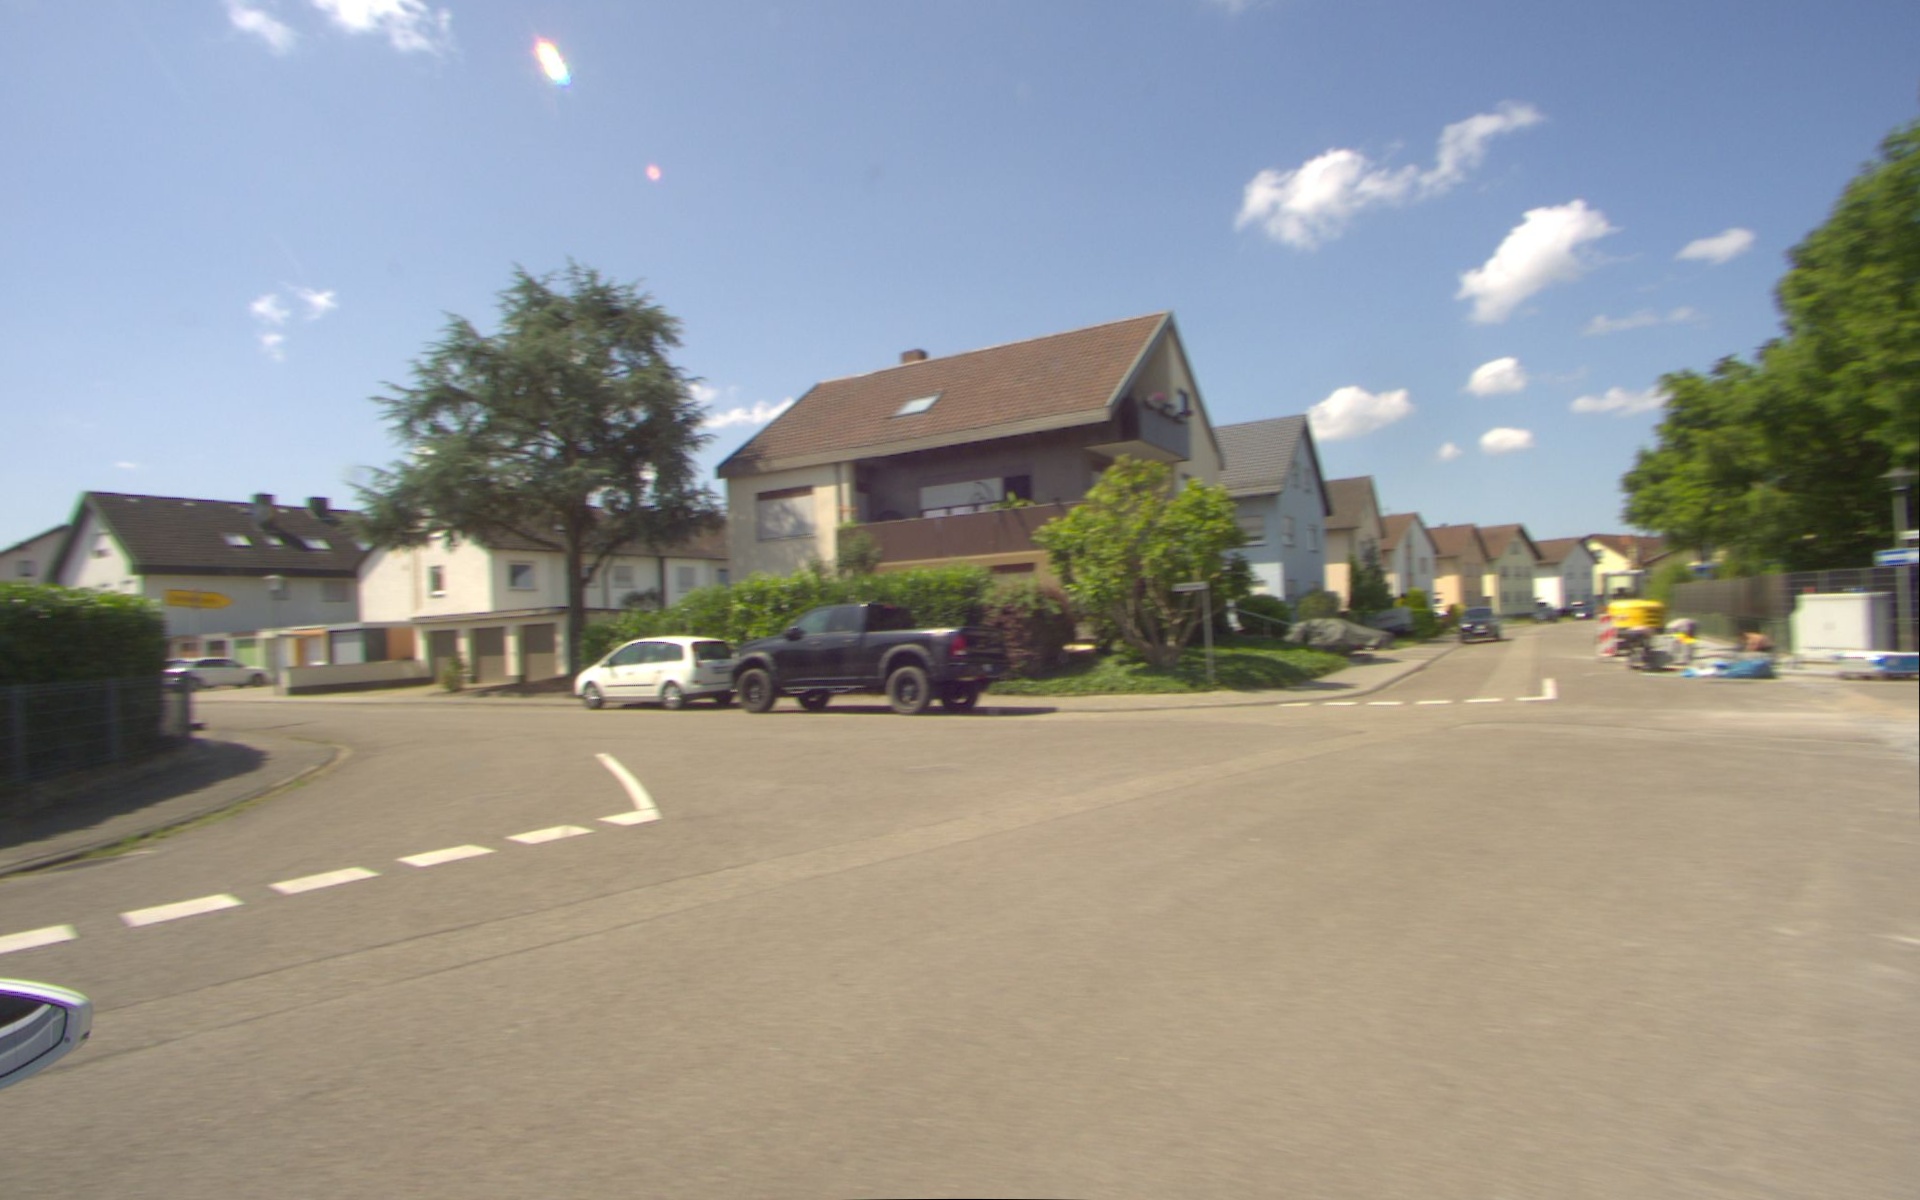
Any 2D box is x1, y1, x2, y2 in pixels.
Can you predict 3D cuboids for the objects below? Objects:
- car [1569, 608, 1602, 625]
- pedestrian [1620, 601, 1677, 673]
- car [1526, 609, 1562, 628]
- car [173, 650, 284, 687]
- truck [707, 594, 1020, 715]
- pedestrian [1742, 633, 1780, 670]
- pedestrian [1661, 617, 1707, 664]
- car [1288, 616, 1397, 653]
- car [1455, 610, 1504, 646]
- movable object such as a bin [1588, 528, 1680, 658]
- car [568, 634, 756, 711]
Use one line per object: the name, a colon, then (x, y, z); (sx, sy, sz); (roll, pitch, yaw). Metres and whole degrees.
car: (64.172, 1.693, 102.715); (1.980, 1.671, 3.963); (-3, -2, 44)
pedestrian: (15.182, 0.809, 22.097); (0.835, 1.533, 0.532); (-2, -1, -11)
car: (54.013, 1.700, 92.593); (1.949, 1.671, 3.963); (-3, -2, 44)
car: (-32.527, 3.035, 44.633); (1.758, 1.426, 3.593); (-3, -2, 31)
truck: (-1.903, 1.127, 19.220); (5.626, 2.037, 2.364); (-3, -5, 28)
pedestrian: (18.167, 1.158, 22.718); (0.513, 0.803, 0.431); (-3, -1, 14)
pedestrian: (19.166, 1.072, 26.521); (0.810, 1.183, 0.511); (-2, -1, -11)
car: (15.747, 1.414, 41.218); (3.941, 1.359, 1.991); (-3, -2, 29)
car: (24.510, 1.299, 47.155); (1.892, 1.561, 3.983); (-3, -2, 29)
movable object such as a bin: (20.213, -0.155, 30.181); (1.971, 3.611, 3.796); (-3, -1, 31)
car: (-6.874, 1.653, 23.016); (4.081, 1.583, 1.796); (-3, -1, 29)
